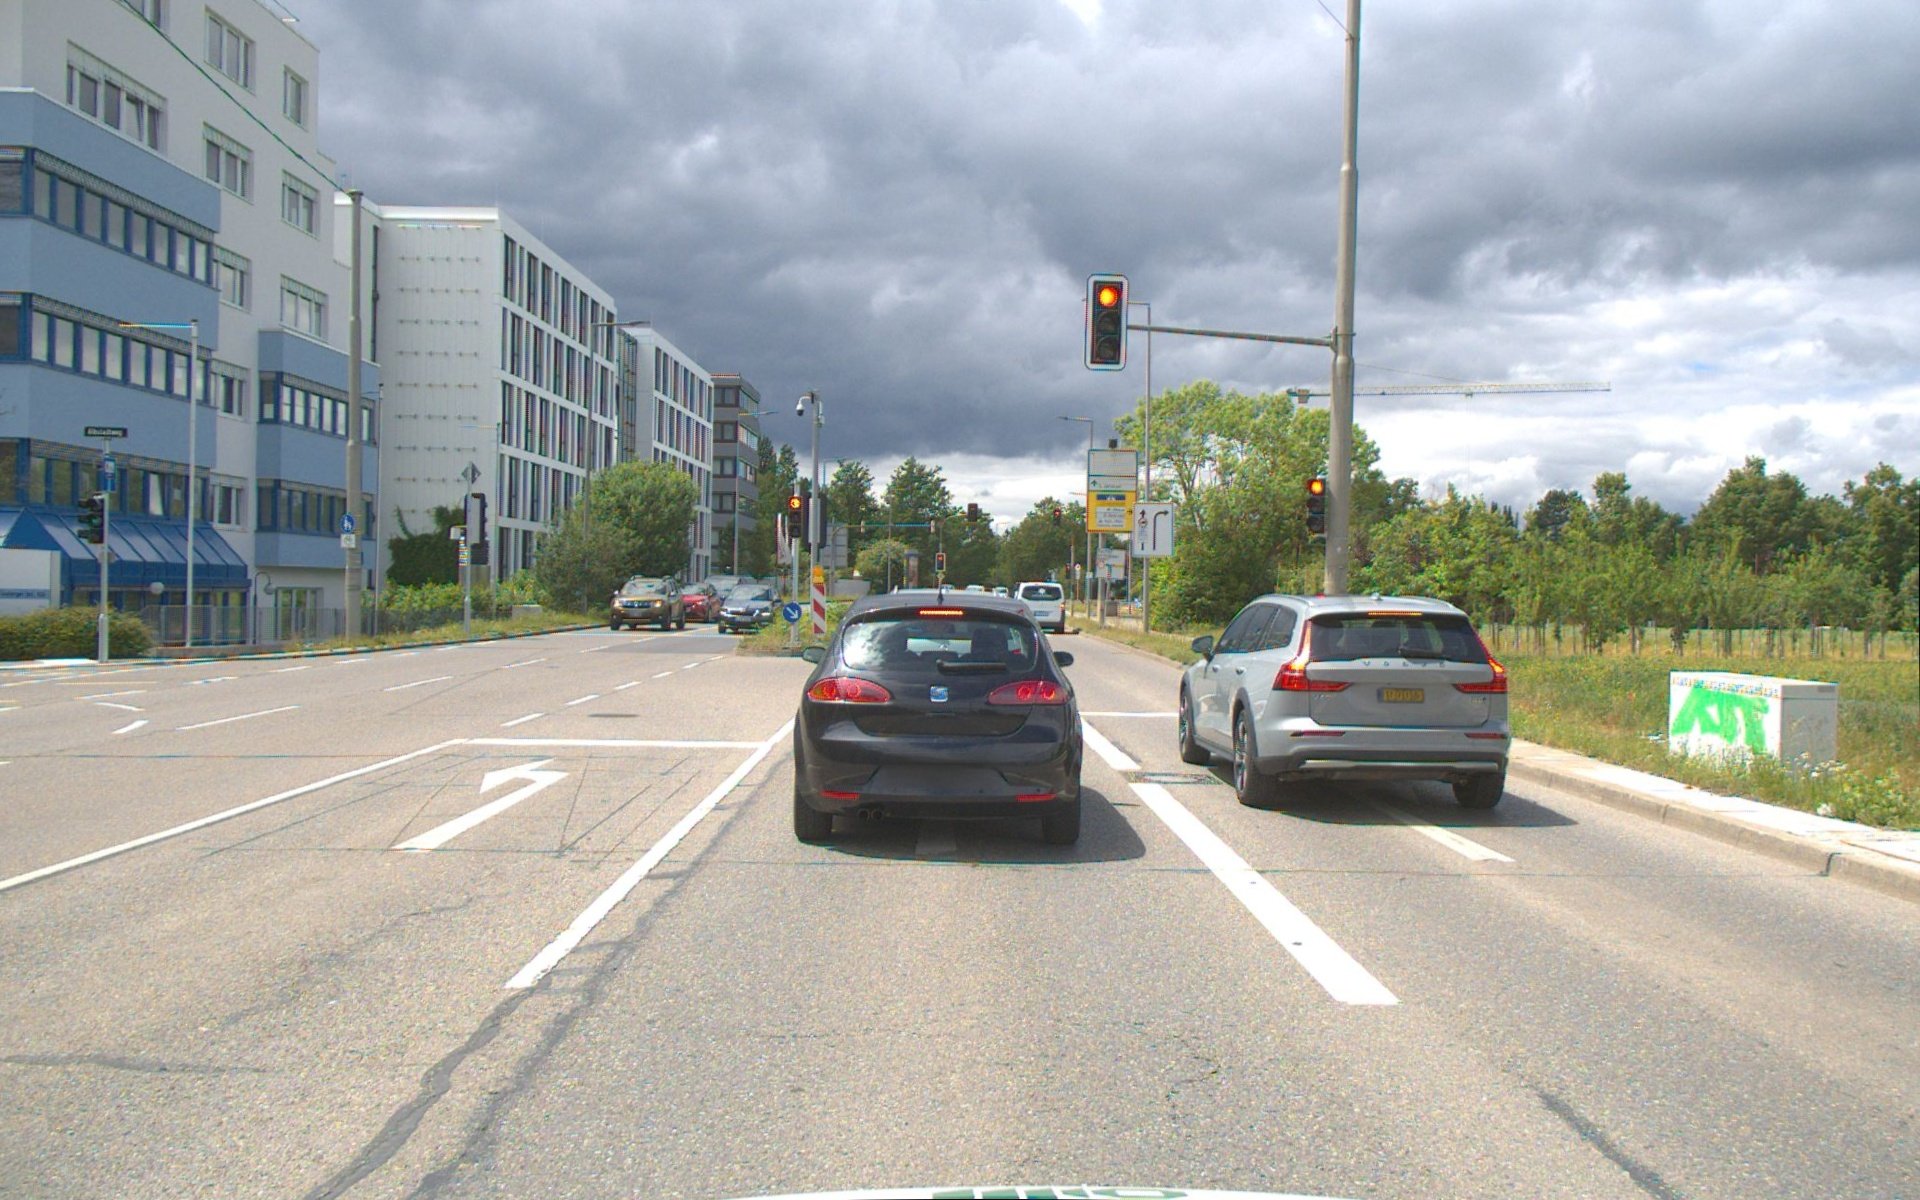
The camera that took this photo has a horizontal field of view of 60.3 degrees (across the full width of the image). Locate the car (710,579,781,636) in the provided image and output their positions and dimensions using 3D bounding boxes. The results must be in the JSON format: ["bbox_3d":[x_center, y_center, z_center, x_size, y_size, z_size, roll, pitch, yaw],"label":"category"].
[{"bbox_3d":[-6.420,0.180,49.821,1.635,1.551,4.008,-1,2,-1],"label":"car"}]

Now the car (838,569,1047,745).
[{"bbox_3d":[-0.220,0.532,17.666,1.943,1.618,4.224,1,0,-2],"label":"car"}]

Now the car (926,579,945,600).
[{"bbox_3d":[-2.486,-1.077,168.744,1.953,2.049,3.999,0,0,-1],"label":"car"}]

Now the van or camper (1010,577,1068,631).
[{"bbox_3d":[2.941,0.168,62.355,1.861,1.959,3.999,0,0,-2],"label":"van or camper"}]

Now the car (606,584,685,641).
[{"bbox_3d":[-9.659,0.352,51.068,1.715,1.659,3.999,-1,0,-1],"label":"car"}]

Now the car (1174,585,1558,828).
[{"bbox_3d":[2.920,0.698,12.922,1.918,1.552,4.339,-1,0,0],"label":"car"}]

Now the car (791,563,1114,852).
[{"bbox_3d":[0.042,0.589,11.001,1.711,1.509,4.001,2,0,2],"label":"car"}]

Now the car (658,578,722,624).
[{"bbox_3d":[-9.860,0.043,60.599,1.740,1.640,3.999,0,0,-1],"label":"car"}]
